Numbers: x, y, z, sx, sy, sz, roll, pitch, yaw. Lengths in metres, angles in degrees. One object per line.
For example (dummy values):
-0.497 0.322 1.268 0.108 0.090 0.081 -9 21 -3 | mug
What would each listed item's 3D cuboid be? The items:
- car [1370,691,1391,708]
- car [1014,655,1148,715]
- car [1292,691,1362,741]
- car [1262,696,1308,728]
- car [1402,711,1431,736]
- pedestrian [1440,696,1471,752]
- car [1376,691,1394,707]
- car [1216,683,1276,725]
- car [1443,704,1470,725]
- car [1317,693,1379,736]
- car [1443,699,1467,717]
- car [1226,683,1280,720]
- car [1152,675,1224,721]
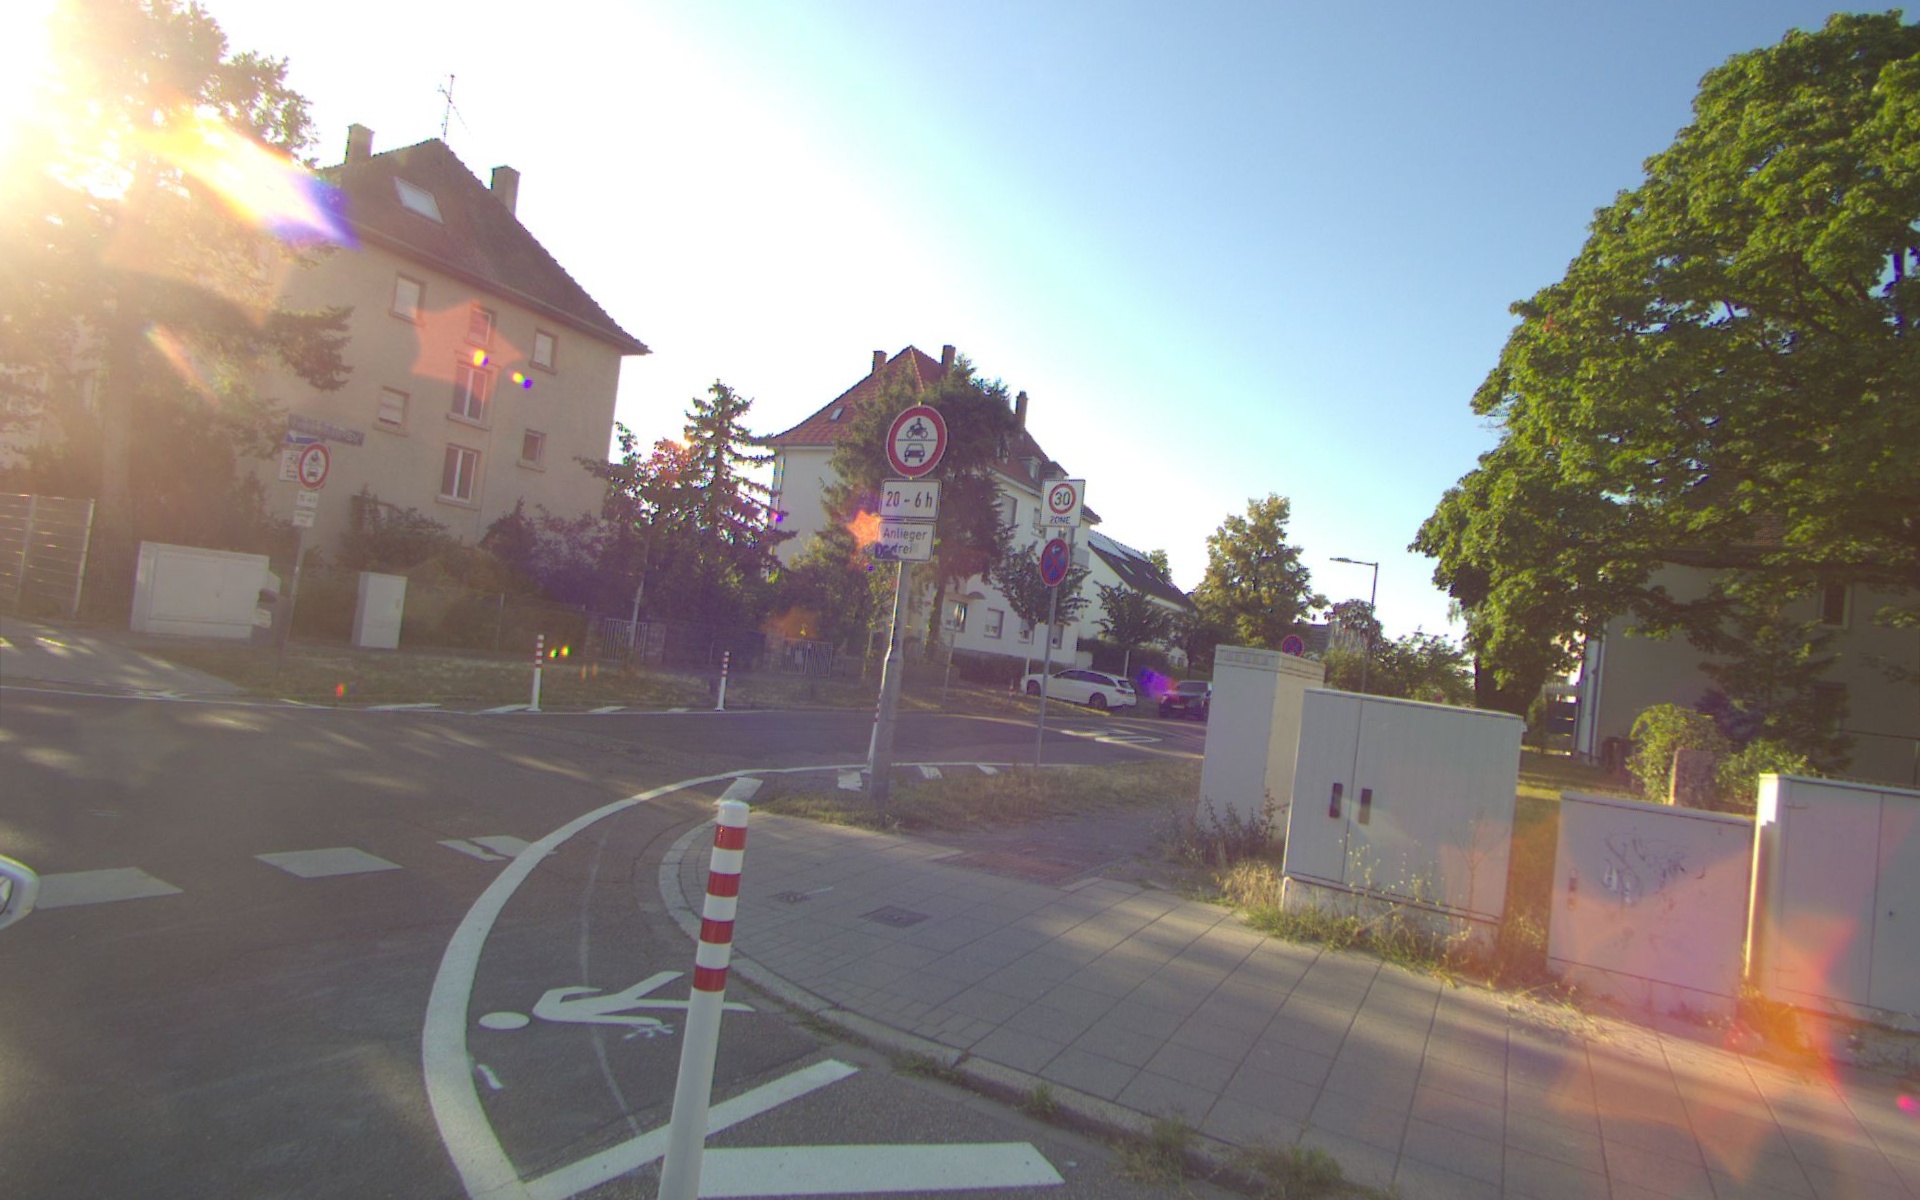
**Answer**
49.939 11.810 119.395 1.937 1.795 4.248 5 -3 26 | car
4.779 3.369 39.934 4.754 1.632 1.971 7 -2 28 | car
14.790 4.658 40.440 1.938 1.632 4.245 5 -3 29 | car
19.767 6.778 61.065 1.937 1.632 4.248 5 -3 26 | car
36.239 9.773 79.798 1.937 1.632 4.248 5 -3 26 | car
19.469 4.868 39.537 0.884 2.037 0.692 5 -2 31 | pedestrian
55.728 13.041 131.901 1.937 1.795 4.248 5 -3 26 | car
13.522 4.904 47.427 1.937 1.632 4.248 5 -3 26 | car
45.525 10.502 92.258 1.938 1.632 4.245 5 -3 29 | car
17.554 5.154 45.382 1.938 1.632 4.245 5 -3 29 | car
52.320 11.414 106.264 1.938 1.632 4.245 5 -3 29 | car
15.453 5.377 52.995 1.937 1.632 4.248 5 -3 26 | car
9.595 4.116 42.094 1.937 1.632 4.248 5 -3 26 | car
